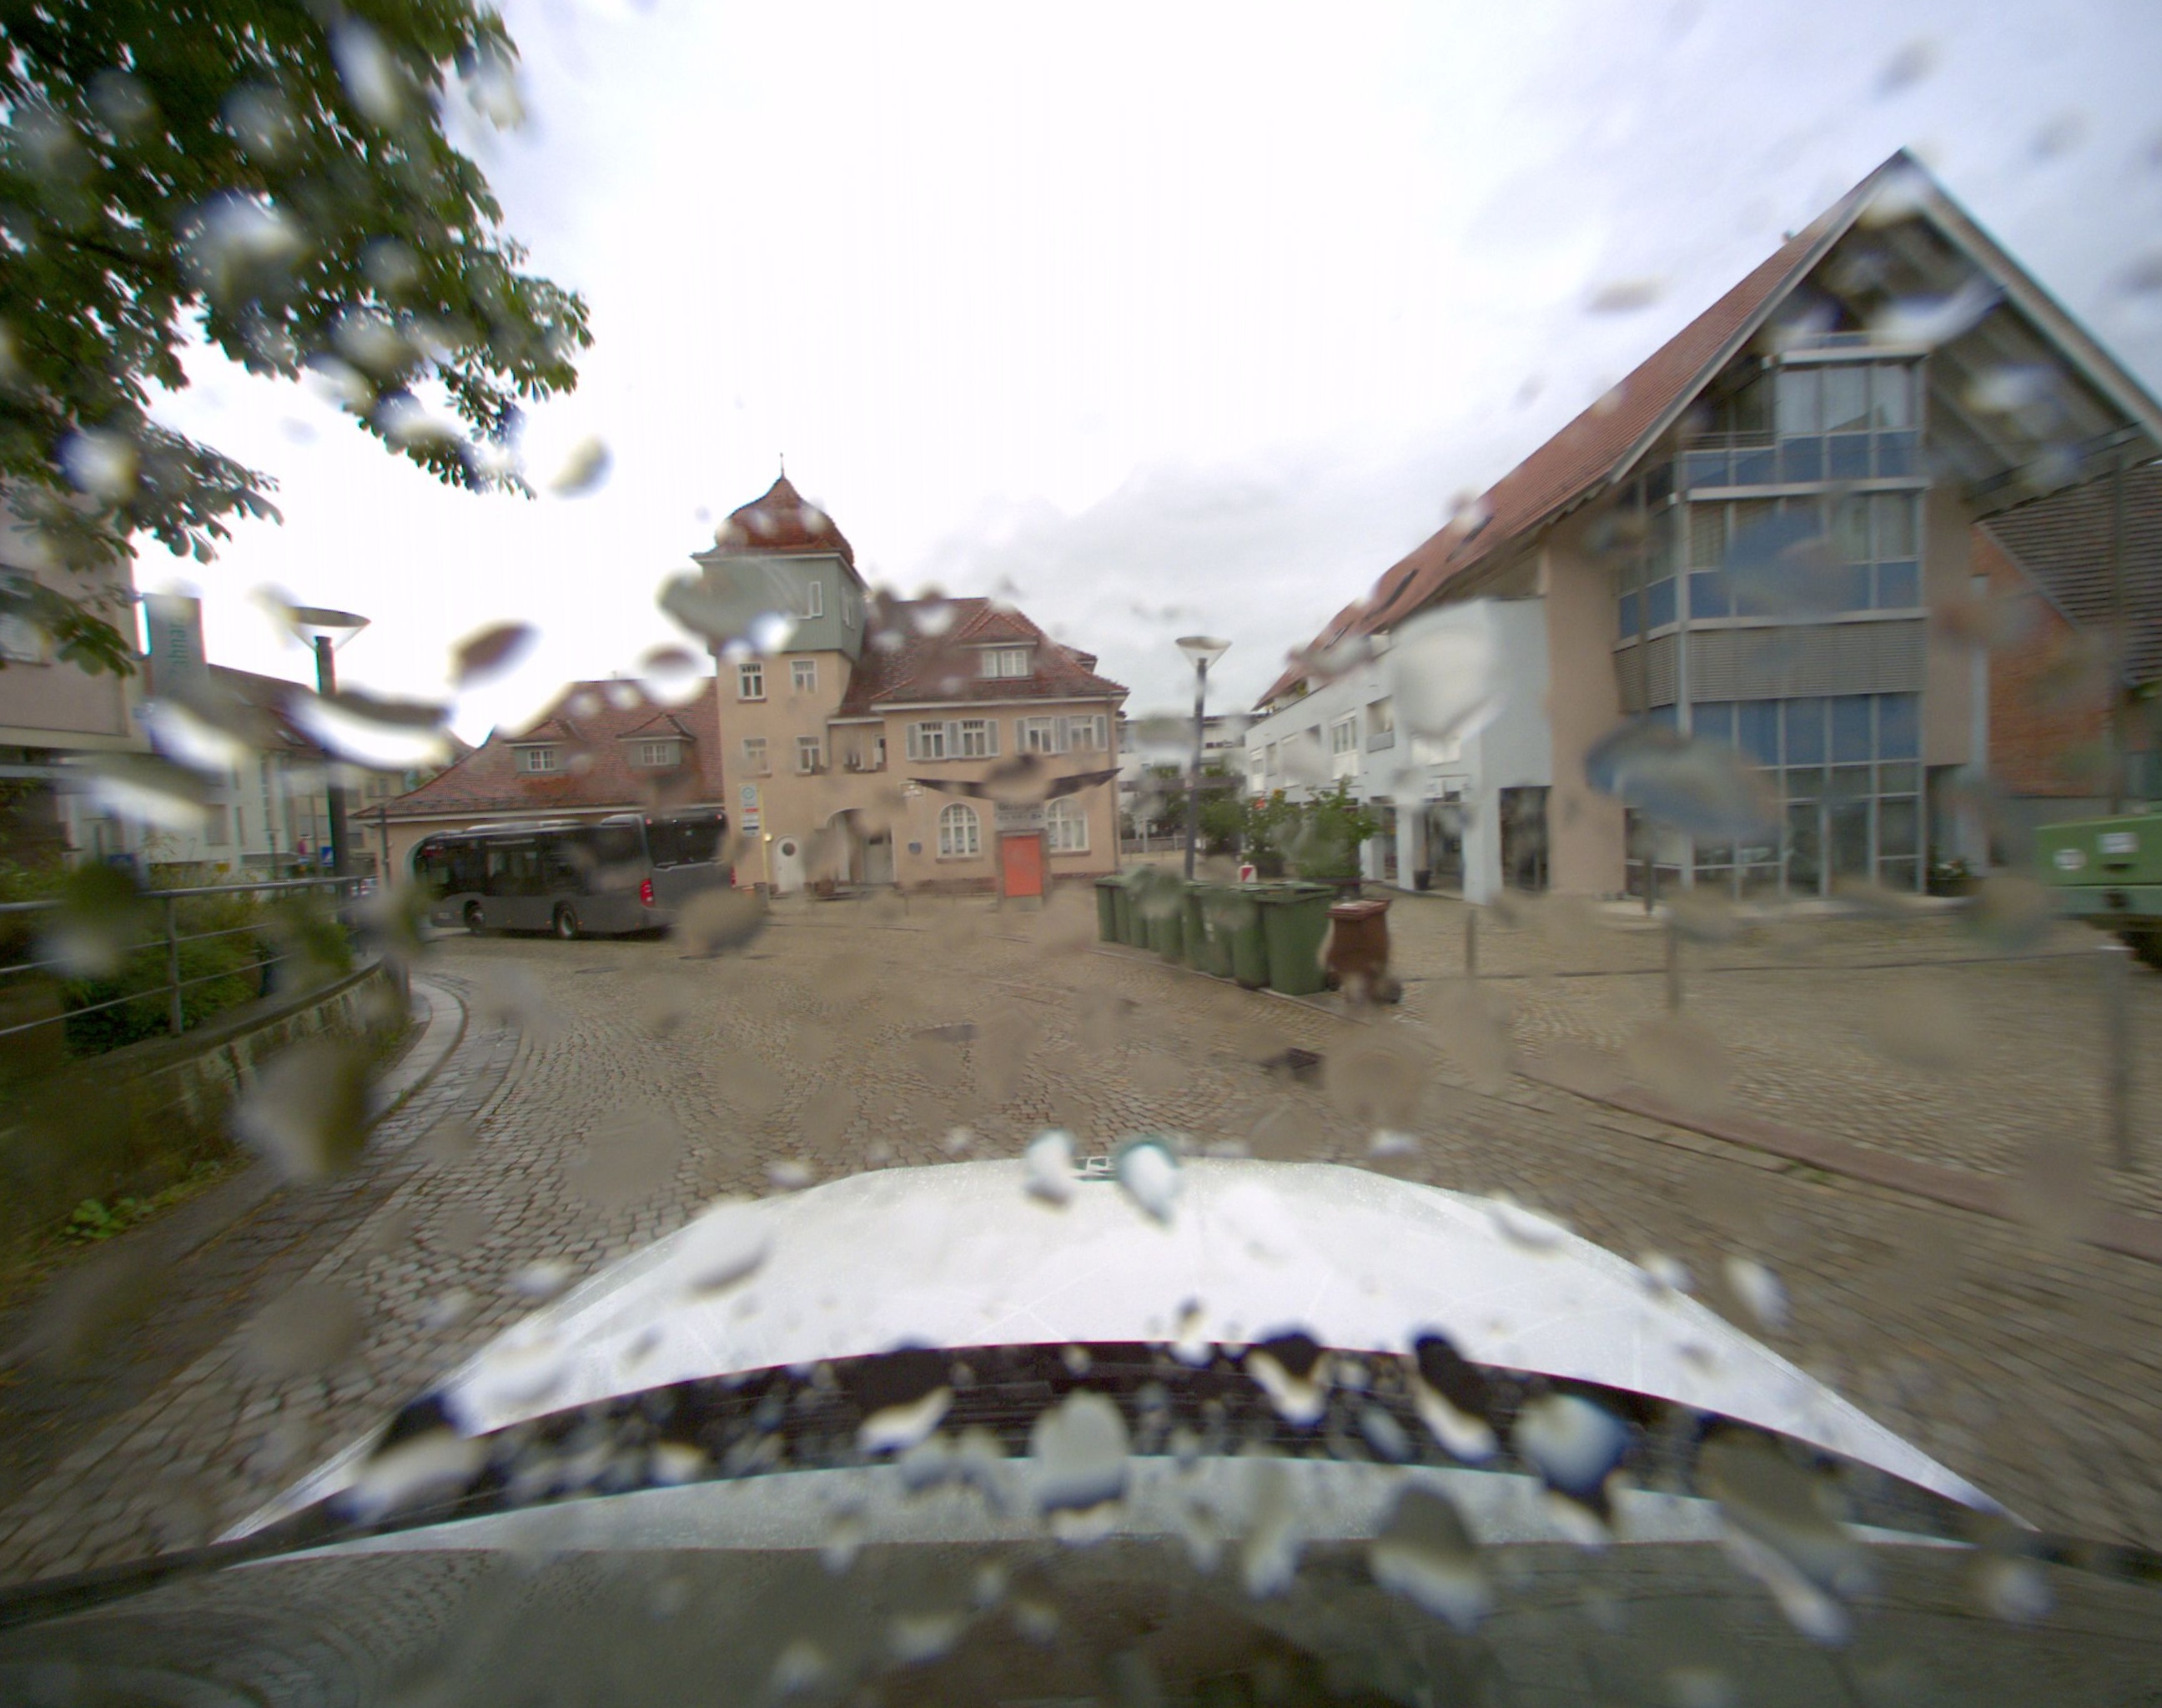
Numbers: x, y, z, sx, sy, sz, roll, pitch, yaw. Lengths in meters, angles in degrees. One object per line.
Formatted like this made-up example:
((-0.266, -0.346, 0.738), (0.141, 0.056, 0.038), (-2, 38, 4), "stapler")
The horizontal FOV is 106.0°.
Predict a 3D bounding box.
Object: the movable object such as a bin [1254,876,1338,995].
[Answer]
((2.185, 0.810, 8.318), (0.562, 1.126, 0.547), (-3, 0, -20), "movable object such as a bin")

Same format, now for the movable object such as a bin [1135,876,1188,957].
((1.182, 0.904, 12.069), (0.561, 1.126, 0.547), (-3, 0, -18), "movable object such as a bin")

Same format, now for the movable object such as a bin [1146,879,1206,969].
((1.261, 0.912, 10.841), (0.561, 1.126, 0.547), (-3, 0, -18), "movable object such as a bin")

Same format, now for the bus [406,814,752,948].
((-13.808, 0.757, 22.031), (10.423, 2.989, 2.806), (-2, 2, 27), "bus")

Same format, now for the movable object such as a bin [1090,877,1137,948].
((0.538, 0.966, 13.705), (0.540, 1.126, 0.534), (-3, 0, -28), "movable object such as a bin")

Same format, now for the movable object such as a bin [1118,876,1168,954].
((0.955, 0.928, 12.601), (0.561, 1.126, 0.547), (-3, 0, -18), "movable object such as a bin")

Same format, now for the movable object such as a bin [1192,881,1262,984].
((1.706, 0.898, 9.561), (0.561, 1.126, 0.538), (-3, 0, -18), "movable object such as a bin")

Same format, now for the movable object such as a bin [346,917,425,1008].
((-9.420, 1.452, 11.038), (0.533, 1.086, 0.685), (0, 3, 40), "movable object such as a bin")

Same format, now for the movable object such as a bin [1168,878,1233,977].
((1.485, 0.896, 10.171), (0.561, 1.159, 0.547), (-3, 0, -18), "movable object such as a bin")

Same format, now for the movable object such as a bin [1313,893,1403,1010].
((2.572, 0.886, 7.582), (0.563, 0.991, 0.494), (-3, 0, -27), "movable object such as a bin")

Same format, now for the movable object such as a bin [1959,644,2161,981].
((10.470, -0.404, 6.536), (4.247, 2.554, 1.919), (-3, 0, 13), "movable object such as a bin")

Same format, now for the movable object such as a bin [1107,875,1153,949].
((0.787, 0.921, 13.165), (0.538, 1.126, 0.536), (-3, 0, -18), "movable object such as a bin")

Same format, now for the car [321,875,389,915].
((-45.287, 2.512, 50.907), (2.004, 2.013, 3.967), (-3, 3, -26), "car")

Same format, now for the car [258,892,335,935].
((-43.479, 3.244, 45.248), (2.006, 1.863, 3.964), (-3, 3, -29), "car")

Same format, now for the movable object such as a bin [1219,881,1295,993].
((1.900, 0.877, 8.838), (0.561, 1.126, 0.547), (-3, 0, -18), "movable object such as a bin")
